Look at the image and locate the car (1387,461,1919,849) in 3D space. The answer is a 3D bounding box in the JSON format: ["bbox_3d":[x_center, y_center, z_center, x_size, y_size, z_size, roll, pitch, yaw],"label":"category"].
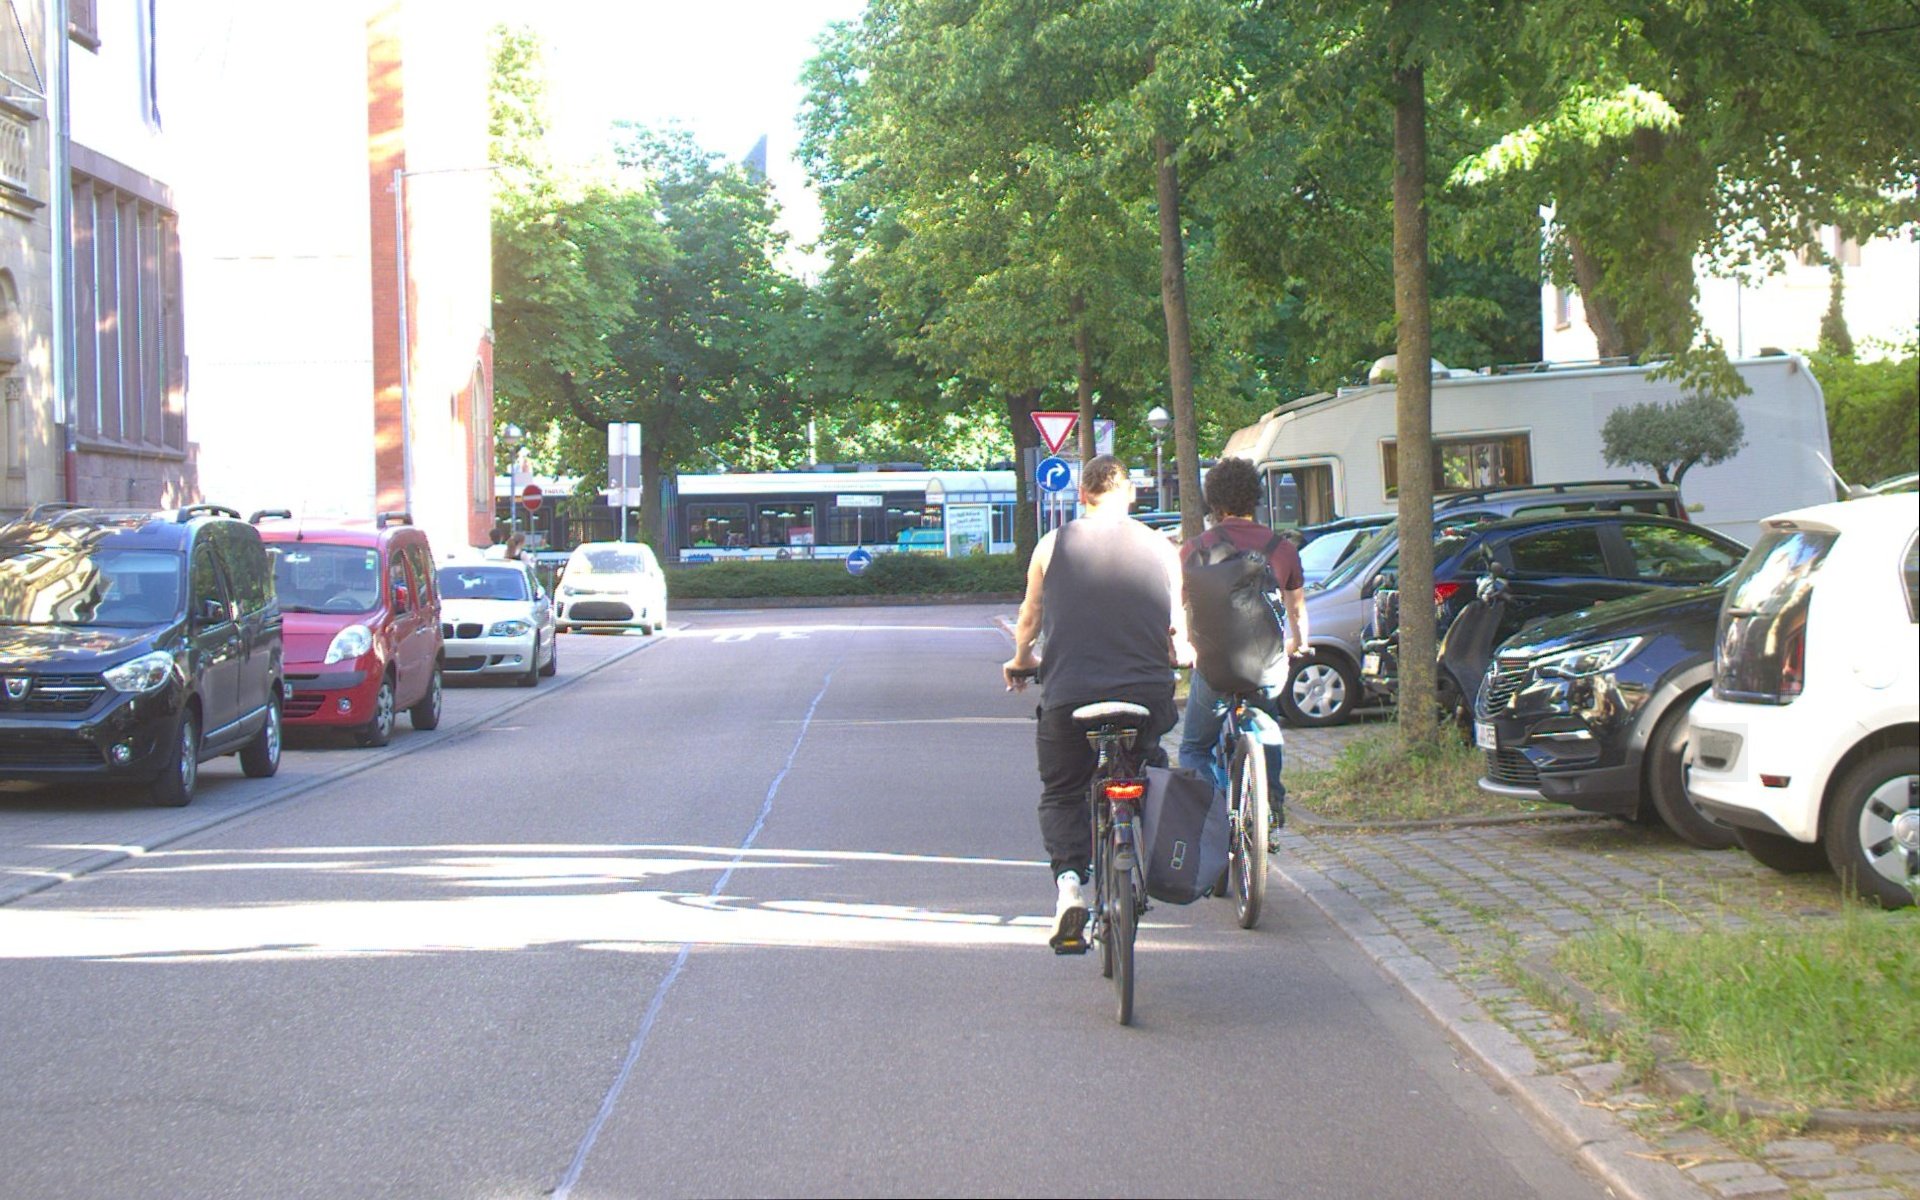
[{"bbox_3d":[4.113,0.212,15.507,4.139,1.594,1.702,-2,-1,1],"label":"car"}]

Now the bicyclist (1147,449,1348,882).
[{"bbox_3d":[1.103,0.237,13.352,0.689,1.621,0.998,0,1,0],"label":"bicyclist"}]

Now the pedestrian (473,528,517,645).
[{"bbox_3d":[-7.005,-0.207,51.841,0.609,1.756,0.432,0,0,0],"label":"pedestrian"}]

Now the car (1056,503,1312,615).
[{"bbox_3d":[3.622,-0.669,56.129,3.986,1.797,1.834,0,0,-3],"label":"car"}]

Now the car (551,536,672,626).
[{"bbox_3d":[-5.743,-0.342,56.996,1.583,1.371,4.131,1,2,0],"label":"car"}]

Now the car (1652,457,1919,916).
[{"bbox_3d":[4.663,0.240,12.893,3.773,1.594,1.691,-2,1,1],"label":"car"}]

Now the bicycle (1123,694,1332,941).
[{"bbox_3d":[1.027,0.824,13.554,0.633,0.796,1.833,-2,1,-1],"label":"bicycle"}]

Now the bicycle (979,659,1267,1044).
[{"bbox_3d":[0.473,0.739,10.839,0.737,1.050,1.956,1,0,-2],"label":"bicycle"}]

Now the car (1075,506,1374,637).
[{"bbox_3d":[3.674,-0.404,48.245,3.986,1.797,1.834,0,0,-3],"label":"car"}]

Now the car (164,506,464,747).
[{"bbox_3d":[-5.282,0.148,28.598,1.688,1.819,4.273,1,2,0],"label":"car"}]

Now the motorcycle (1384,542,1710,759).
[{"bbox_3d":[3.219,0.273,18.905,1.606,1.137,0.671,-1,1,33],"label":"motorcycle"}]

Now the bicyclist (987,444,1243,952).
[{"bbox_3d":[0.476,0.298,10.929,0.729,1.542,0.885,1,0,-2],"label":"bicyclist"}]

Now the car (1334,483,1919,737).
[{"bbox_3d":[4.812,0.069,23.895,4.138,1.594,1.703,-2,-1,-3],"label":"car"}]

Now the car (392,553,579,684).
[{"bbox_3d":[-5.395,0.170,39.501,1.583,1.339,4.131,1,2,0],"label":"car"}]

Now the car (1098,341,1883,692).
[{"bbox_3d":[5.108,-0.821,33.852,7.146,2.968,2.465,-3,1,-3],"label":"car"}]

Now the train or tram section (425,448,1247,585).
[{"bbox_3d":[-3.272,-2.300,99.572,23.800,3.696,4.287,0,0,-23],"label":"train or tram section"}]

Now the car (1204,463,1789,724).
[{"bbox_3d":[4.056,-0.062,26.381,4.082,1.644,1.641,-4,1,-2],"label":"car"}]

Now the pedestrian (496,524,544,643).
[{"bbox_3d":[-6.211,-0.233,48.552,0.609,1.673,0.518,0,0,0],"label":"pedestrian"}]

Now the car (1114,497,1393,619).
[{"bbox_3d":[4.400,-0.631,52.001,3.986,1.797,1.834,0,0,-3],"label":"car"}]

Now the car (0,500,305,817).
[{"bbox_3d":[-5.370,0.273,21.715,1.640,1.777,4.354,1,2,0],"label":"car"}]
